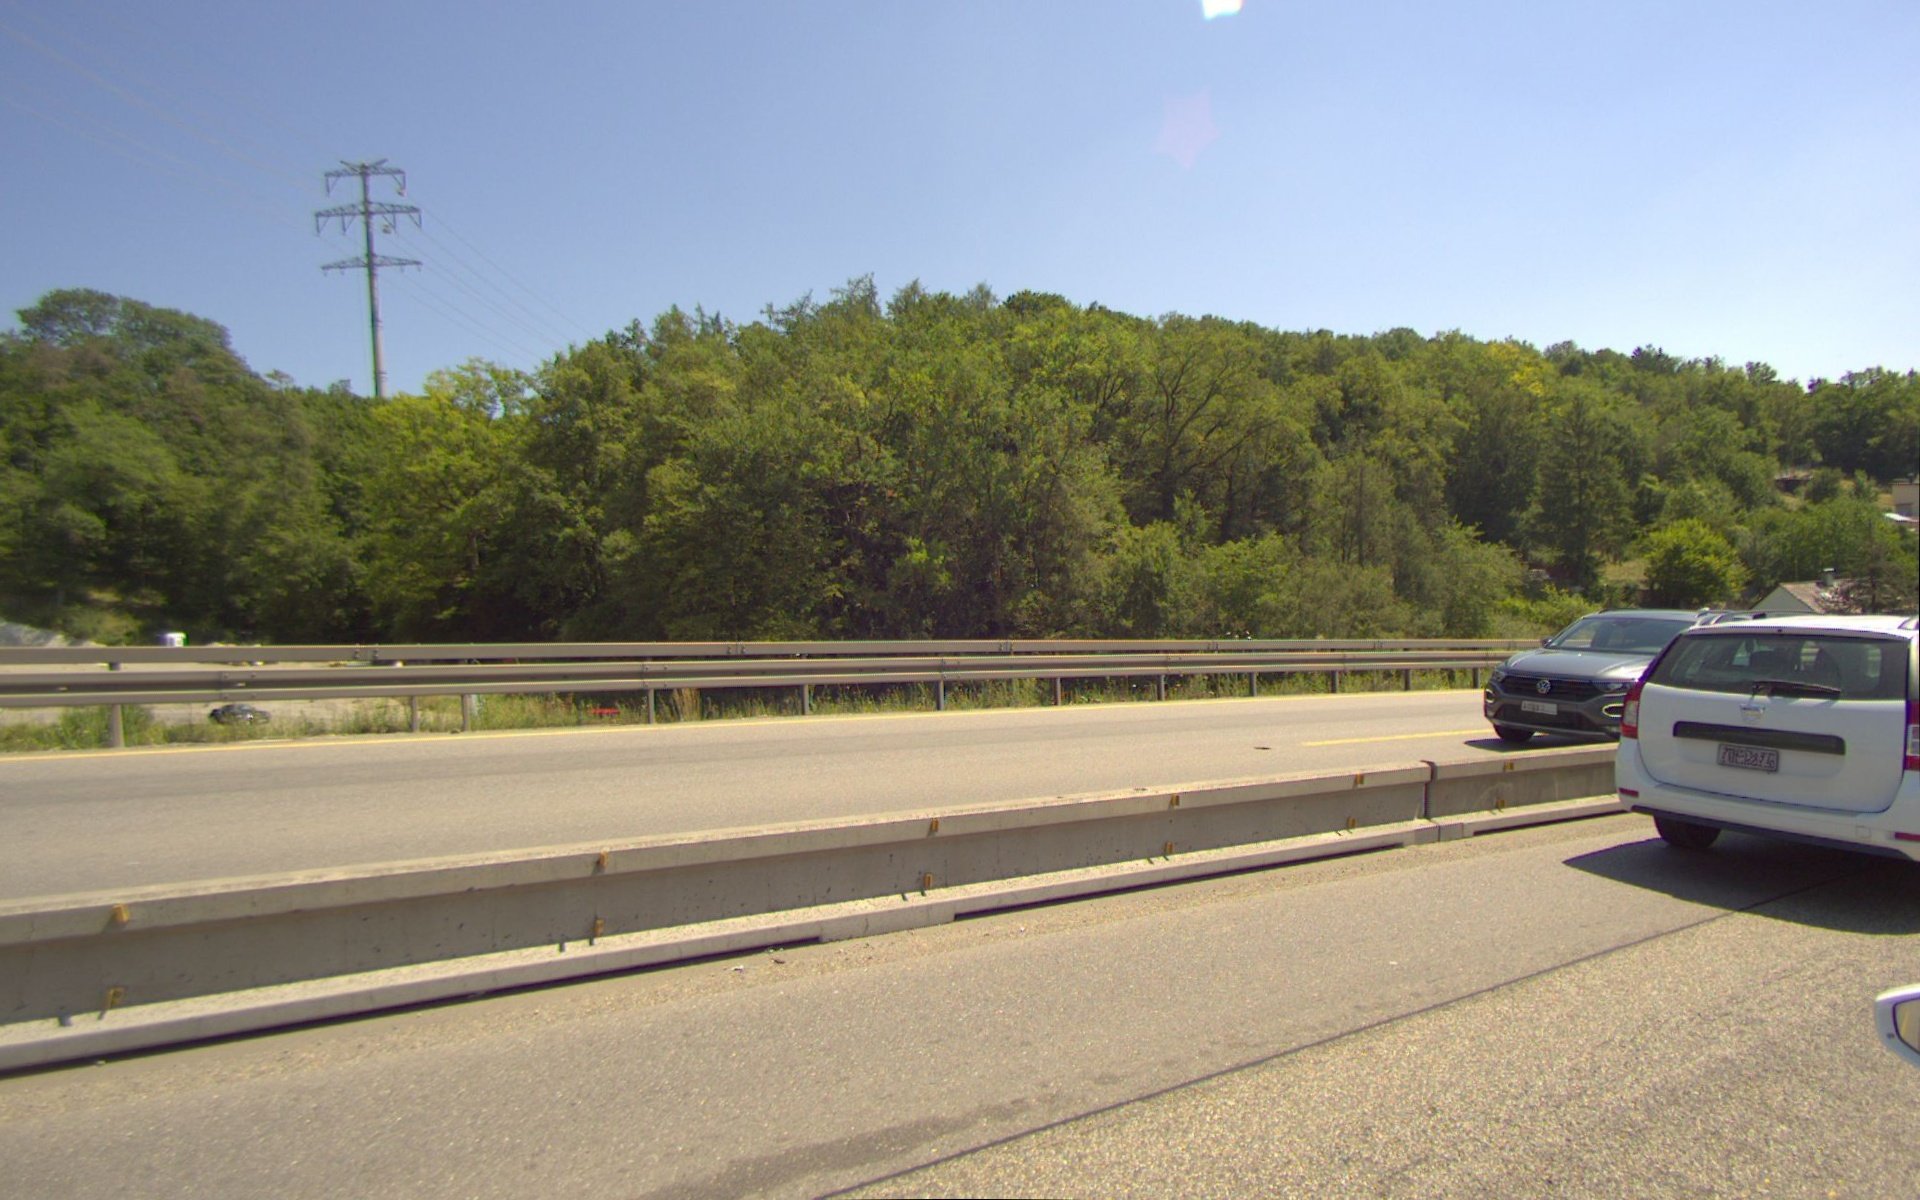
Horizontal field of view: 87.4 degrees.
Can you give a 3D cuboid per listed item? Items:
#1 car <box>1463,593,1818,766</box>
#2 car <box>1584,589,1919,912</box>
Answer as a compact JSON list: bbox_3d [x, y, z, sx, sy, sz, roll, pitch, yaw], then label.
[{"bbox_3d":[7.803,0.804,11.471,3.952,1.663,1.731,1,0,-29],"label":"car"},{"bbox_3d":[5.987,0.775,6.339,4.214,1.503,1.645,2,-2,-29],"label":"car"}]
